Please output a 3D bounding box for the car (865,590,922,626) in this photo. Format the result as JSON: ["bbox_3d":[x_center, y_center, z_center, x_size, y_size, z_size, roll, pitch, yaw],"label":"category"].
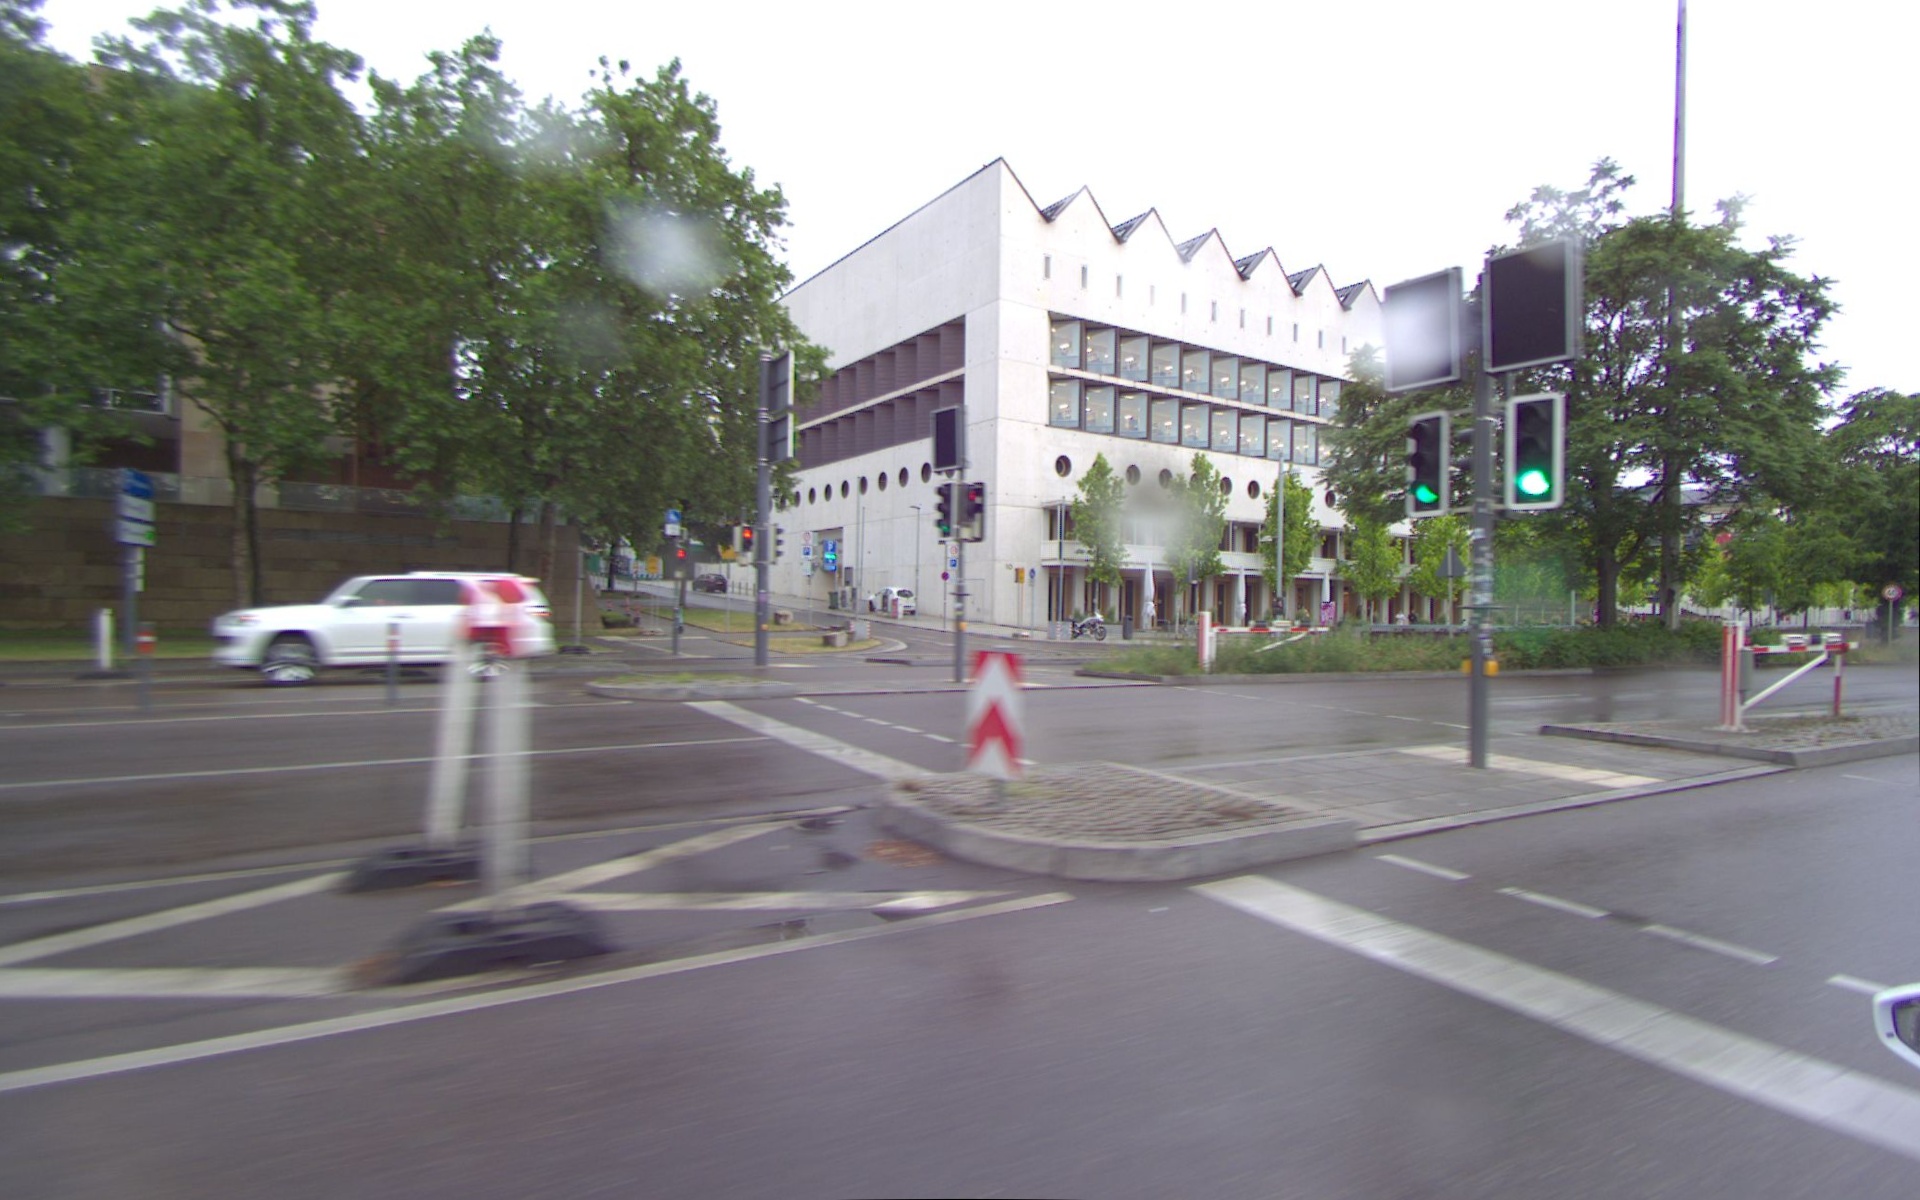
[{"bbox_3d":[-4.000,0.521,59.662,1.975,2.040,3.972,2,-2,-27],"label":"car"}]

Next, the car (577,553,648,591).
[{"bbox_3d":[-22.017,-1.727,63.681,3.953,2.142,1.984,2,-2,-30],"label":"car"}]

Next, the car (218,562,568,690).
[{"bbox_3d":[-9.364,0.477,16.869,4.844,1.864,1.981,2,-2,-35],"label":"car"}]

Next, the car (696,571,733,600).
[{"bbox_3d":[-19.325,-1.088,78.960,1.975,2.040,3.972,2,-2,-27],"label":"car"}]

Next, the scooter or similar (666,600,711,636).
[{"bbox_3d":[-10.760,0.734,39.794,1.646,1.369,0.713,1,-2,-12],"label":"scooter or similar"}]

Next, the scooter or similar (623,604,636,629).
[{"bbox_3d":[-14.211,0.734,43.165,0.430,1.031,1.667,1,-2,-20],"label":"scooter or similar"}]

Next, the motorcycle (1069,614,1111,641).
[{"bbox_3d":[5.737,1.218,44.329,1.807,1.170,0.426,0,-1,31],"label":"motorcycle"}]

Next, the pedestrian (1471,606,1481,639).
[{"bbox_3d":[32.714,1.421,63.726,0.531,2.040,0.531,0,-2,23],"label":"pedestrian"}]

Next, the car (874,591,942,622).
[{"bbox_3d":[-2.909,0.351,55.506,1.980,1.617,3.961,1,0,-35],"label":"car"}]
